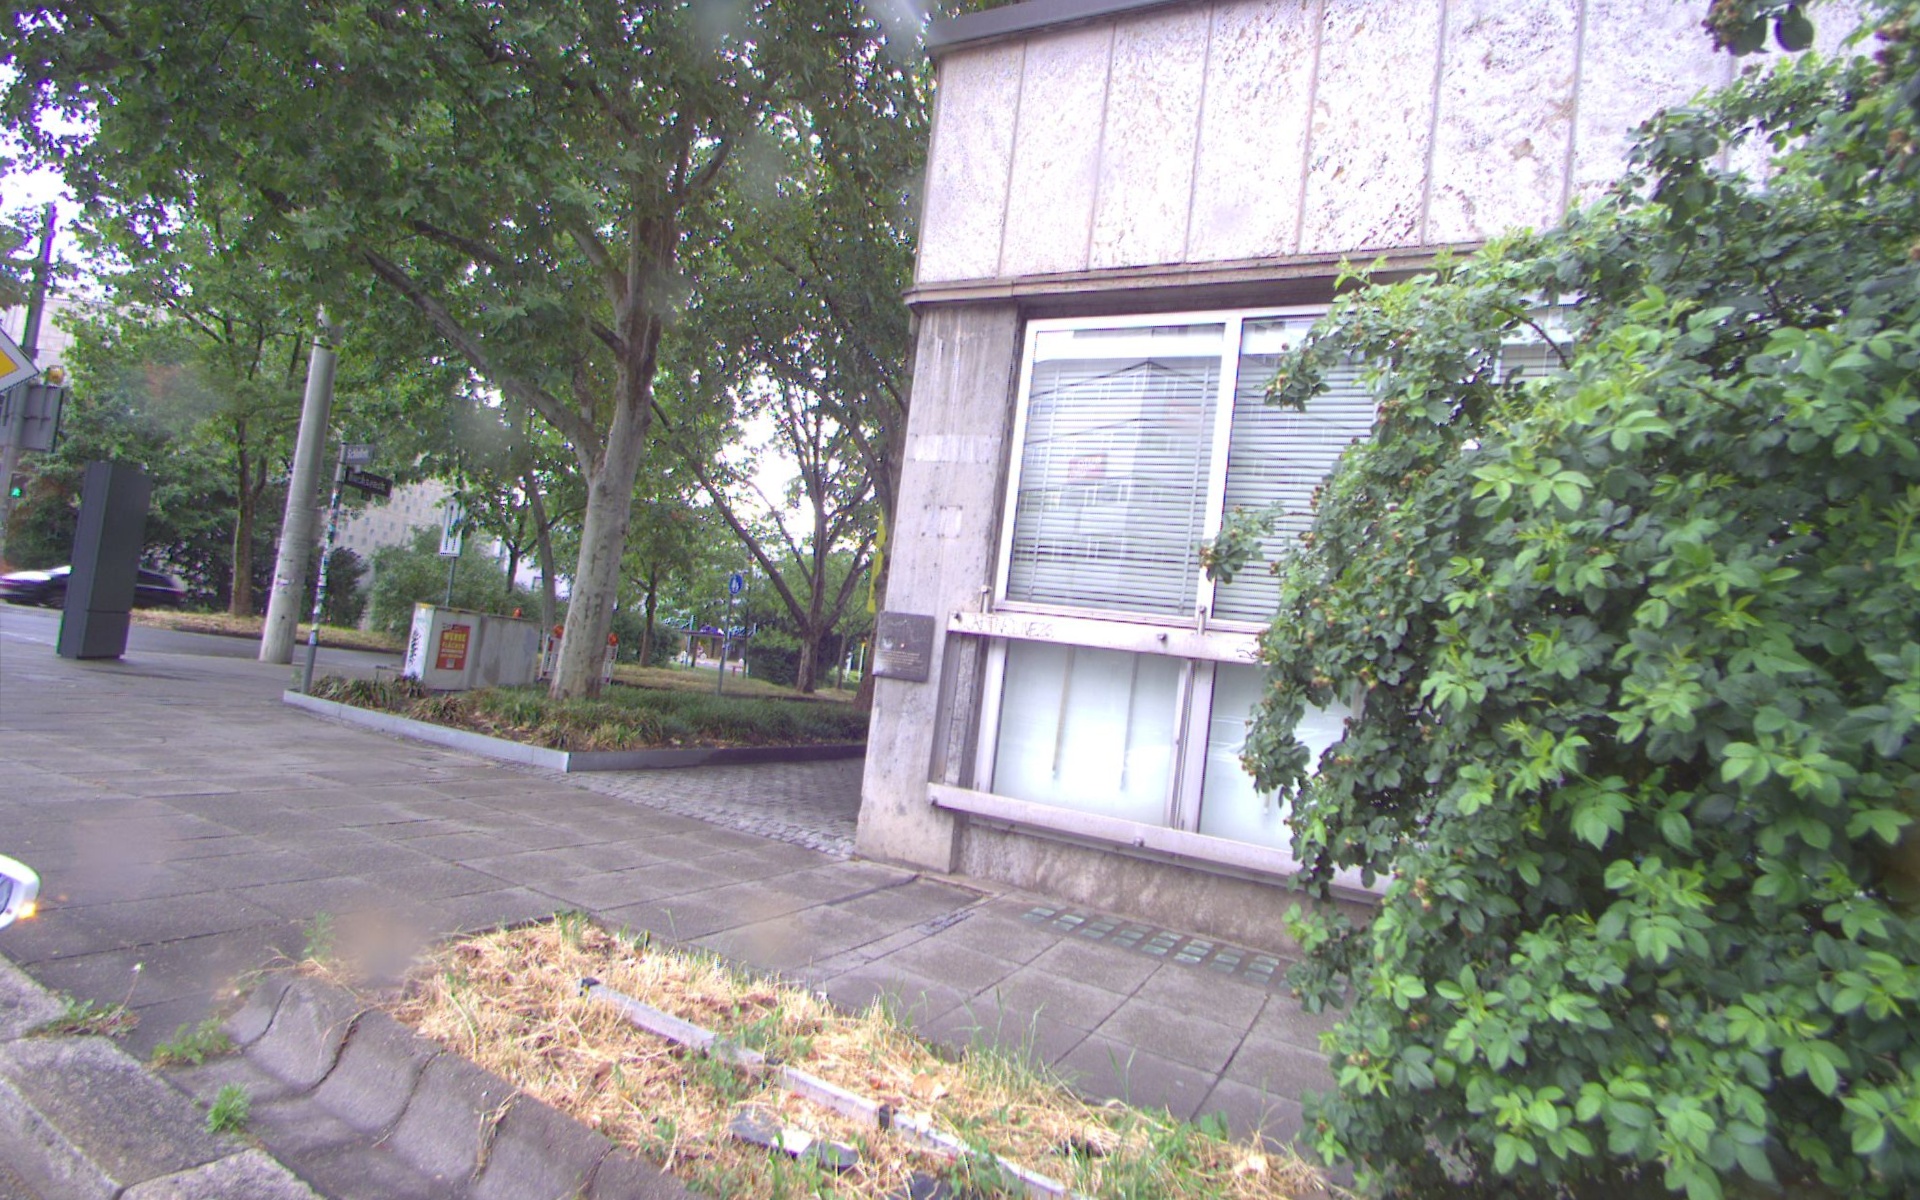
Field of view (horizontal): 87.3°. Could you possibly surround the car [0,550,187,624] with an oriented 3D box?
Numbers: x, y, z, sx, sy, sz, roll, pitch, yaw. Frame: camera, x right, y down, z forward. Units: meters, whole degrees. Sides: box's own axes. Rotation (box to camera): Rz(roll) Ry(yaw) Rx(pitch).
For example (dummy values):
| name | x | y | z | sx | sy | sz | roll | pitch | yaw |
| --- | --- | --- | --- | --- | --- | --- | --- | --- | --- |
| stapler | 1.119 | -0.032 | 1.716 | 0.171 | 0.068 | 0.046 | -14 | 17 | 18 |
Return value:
| name | x | y | z | sx | sy | sz | roll | pitch | yaw |
| --- | --- | --- | --- | --- | --- | --- | --- | --- | --- |
| car | -23.716 | -0.312 | 27.355 | 1.603 | 1.371 | 3.877 | 7 | -4 | 23 |
